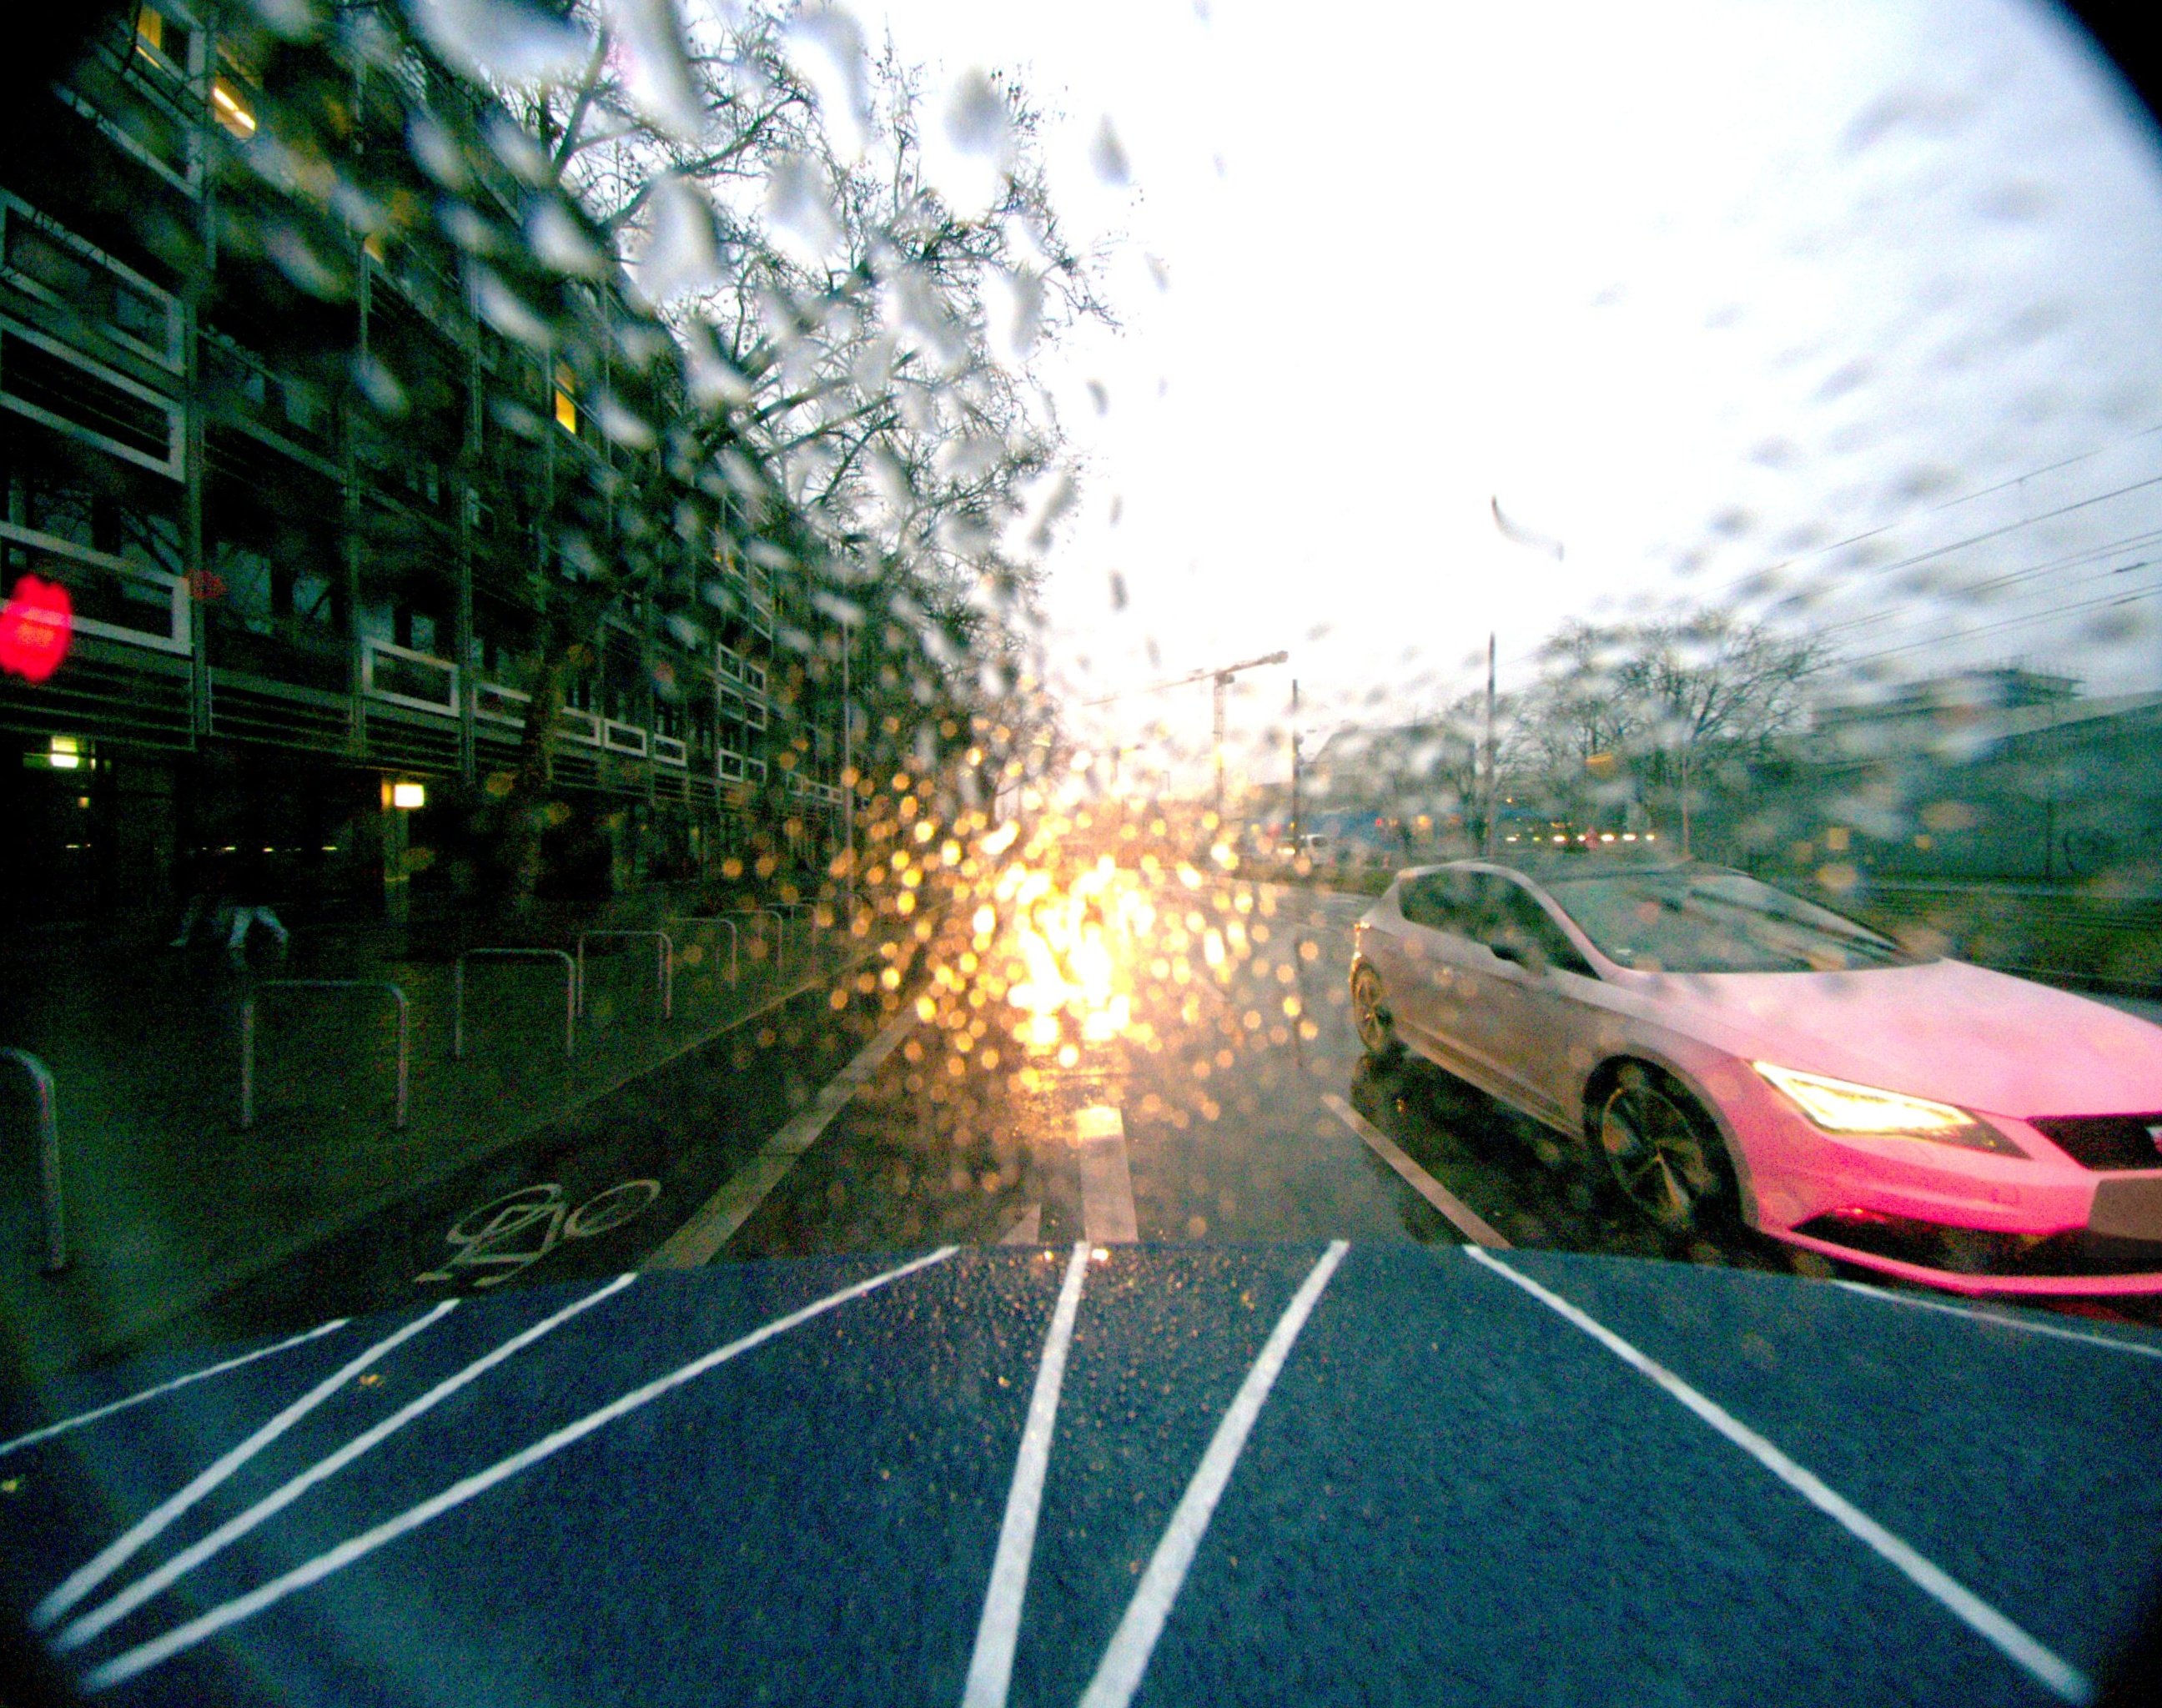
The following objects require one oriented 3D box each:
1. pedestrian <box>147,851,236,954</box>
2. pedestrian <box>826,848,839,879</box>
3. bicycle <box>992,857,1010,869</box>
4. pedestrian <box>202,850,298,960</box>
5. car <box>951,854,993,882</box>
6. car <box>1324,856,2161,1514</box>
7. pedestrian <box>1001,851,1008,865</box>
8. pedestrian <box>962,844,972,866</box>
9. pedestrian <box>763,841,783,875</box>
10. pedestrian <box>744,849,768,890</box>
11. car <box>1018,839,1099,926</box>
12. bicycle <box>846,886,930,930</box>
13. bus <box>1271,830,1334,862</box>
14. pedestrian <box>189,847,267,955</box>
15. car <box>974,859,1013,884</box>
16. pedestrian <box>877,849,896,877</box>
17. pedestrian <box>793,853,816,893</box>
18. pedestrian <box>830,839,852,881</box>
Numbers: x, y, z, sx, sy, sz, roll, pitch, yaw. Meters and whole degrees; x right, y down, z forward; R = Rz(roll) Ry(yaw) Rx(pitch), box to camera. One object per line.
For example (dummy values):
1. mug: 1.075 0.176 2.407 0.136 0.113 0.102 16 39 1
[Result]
1. pedestrian: -14.003 0.741 11.976 0.484 1.555 0.745 -1 1 -1
2. pedestrian: -13.095 0.484 40.055 0.642 1.645 0.841 -1 1 -18
3. bicycle: -7.211 0.808 68.298 1.523 1.030 0.469 -2 1 -7
4. pedestrian: -12.966 0.764 11.882 0.501 1.658 0.873 0 1 1
5. car: -6.171 0.786 43.377 1.608 1.424 3.930 2 1 2
6. car: 2.916 0.820 3.952 1.778 1.466 4.128 -4 1 -2
7. pedestrian: -11.276 0.526 111.946 0.838 2.002 0.771 -2 2 -1
8. pedestrian: -10.517 0.073 69.976 0.791 2.002 1.024 -1 1 0
9. pedestrian: -12.531 0.175 30.914 0.493 1.361 0.503 0 1 29
10. pedestrian: -13.232 0.619 30.950 0.617 1.647 0.780 -1 1 1
11. car: -0.490 0.656 19.706 1.858 2.002 4.000 -1 1 1
12. bicycle: -4.449 1.248 17.609 1.792 0.968 0.617 1 1 -4
13. bus: 26.003 -0.898 89.998 2.815 3.557 12.298 -1 0 -6
14. pedestrian: -13.437 0.714 11.983 0.379 1.658 0.713 0 1 1
15. car: -5.847 1.158 51.220 1.998 1.477 3.999 -2 1 1
16. pedestrian: -11.078 0.505 43.269 0.866 1.515 0.837 -1 1 -2
17. pedestrian: -10.949 0.740 30.127 0.649 1.535 0.615 0 1 1
18. pedestrian: -11.598 0.281 36.734 0.822 2.002 0.735 -1 1 -2
